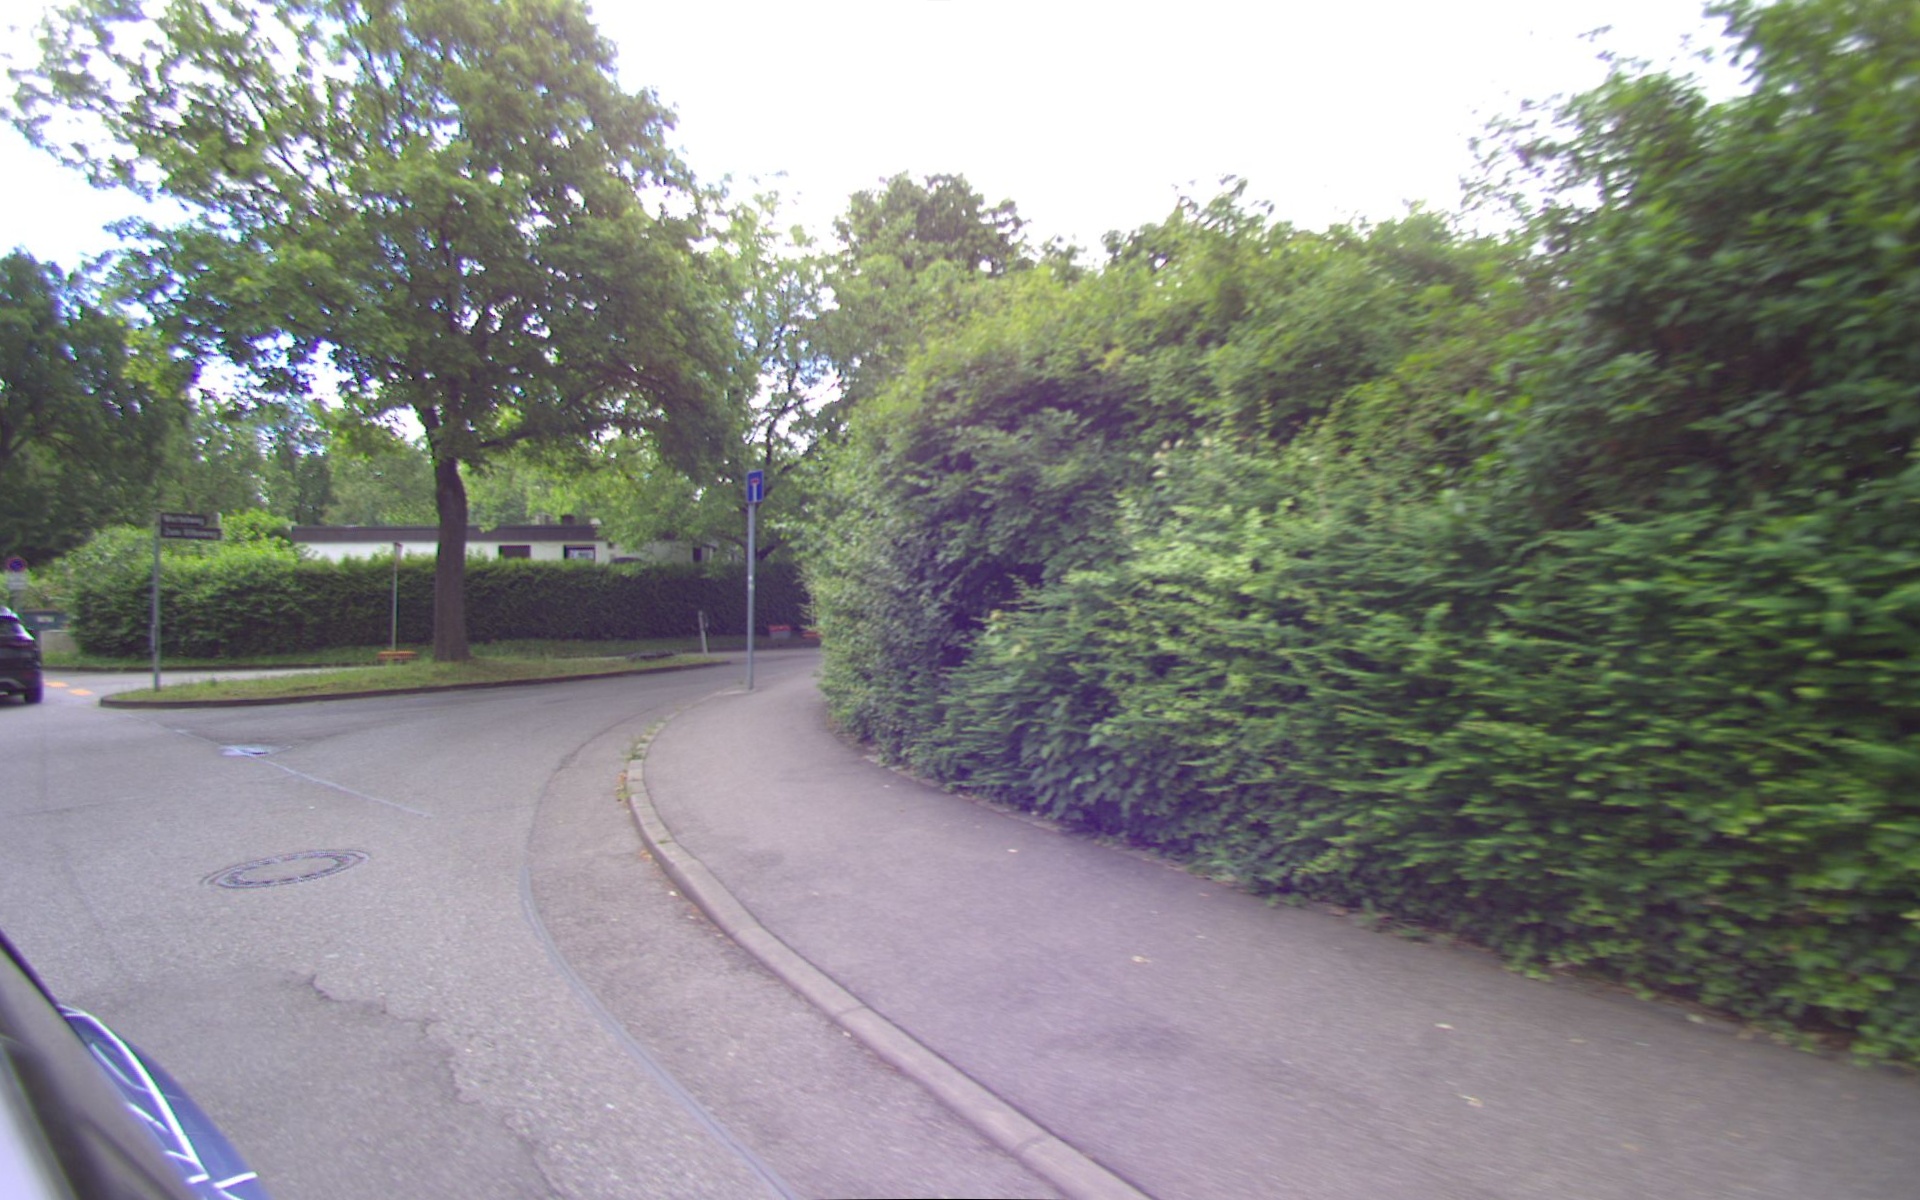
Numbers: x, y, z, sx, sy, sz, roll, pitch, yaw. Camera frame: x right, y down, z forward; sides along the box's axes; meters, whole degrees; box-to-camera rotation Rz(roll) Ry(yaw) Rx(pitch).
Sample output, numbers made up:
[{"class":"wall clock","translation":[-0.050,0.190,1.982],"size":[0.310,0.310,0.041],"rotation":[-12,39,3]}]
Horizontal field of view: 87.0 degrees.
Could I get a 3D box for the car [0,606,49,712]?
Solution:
[{"class":"car","translation":[-16.455,0.955,16.569],"size":[4.294,1.603,1.784],"rotation":[-2,0,41]}]
